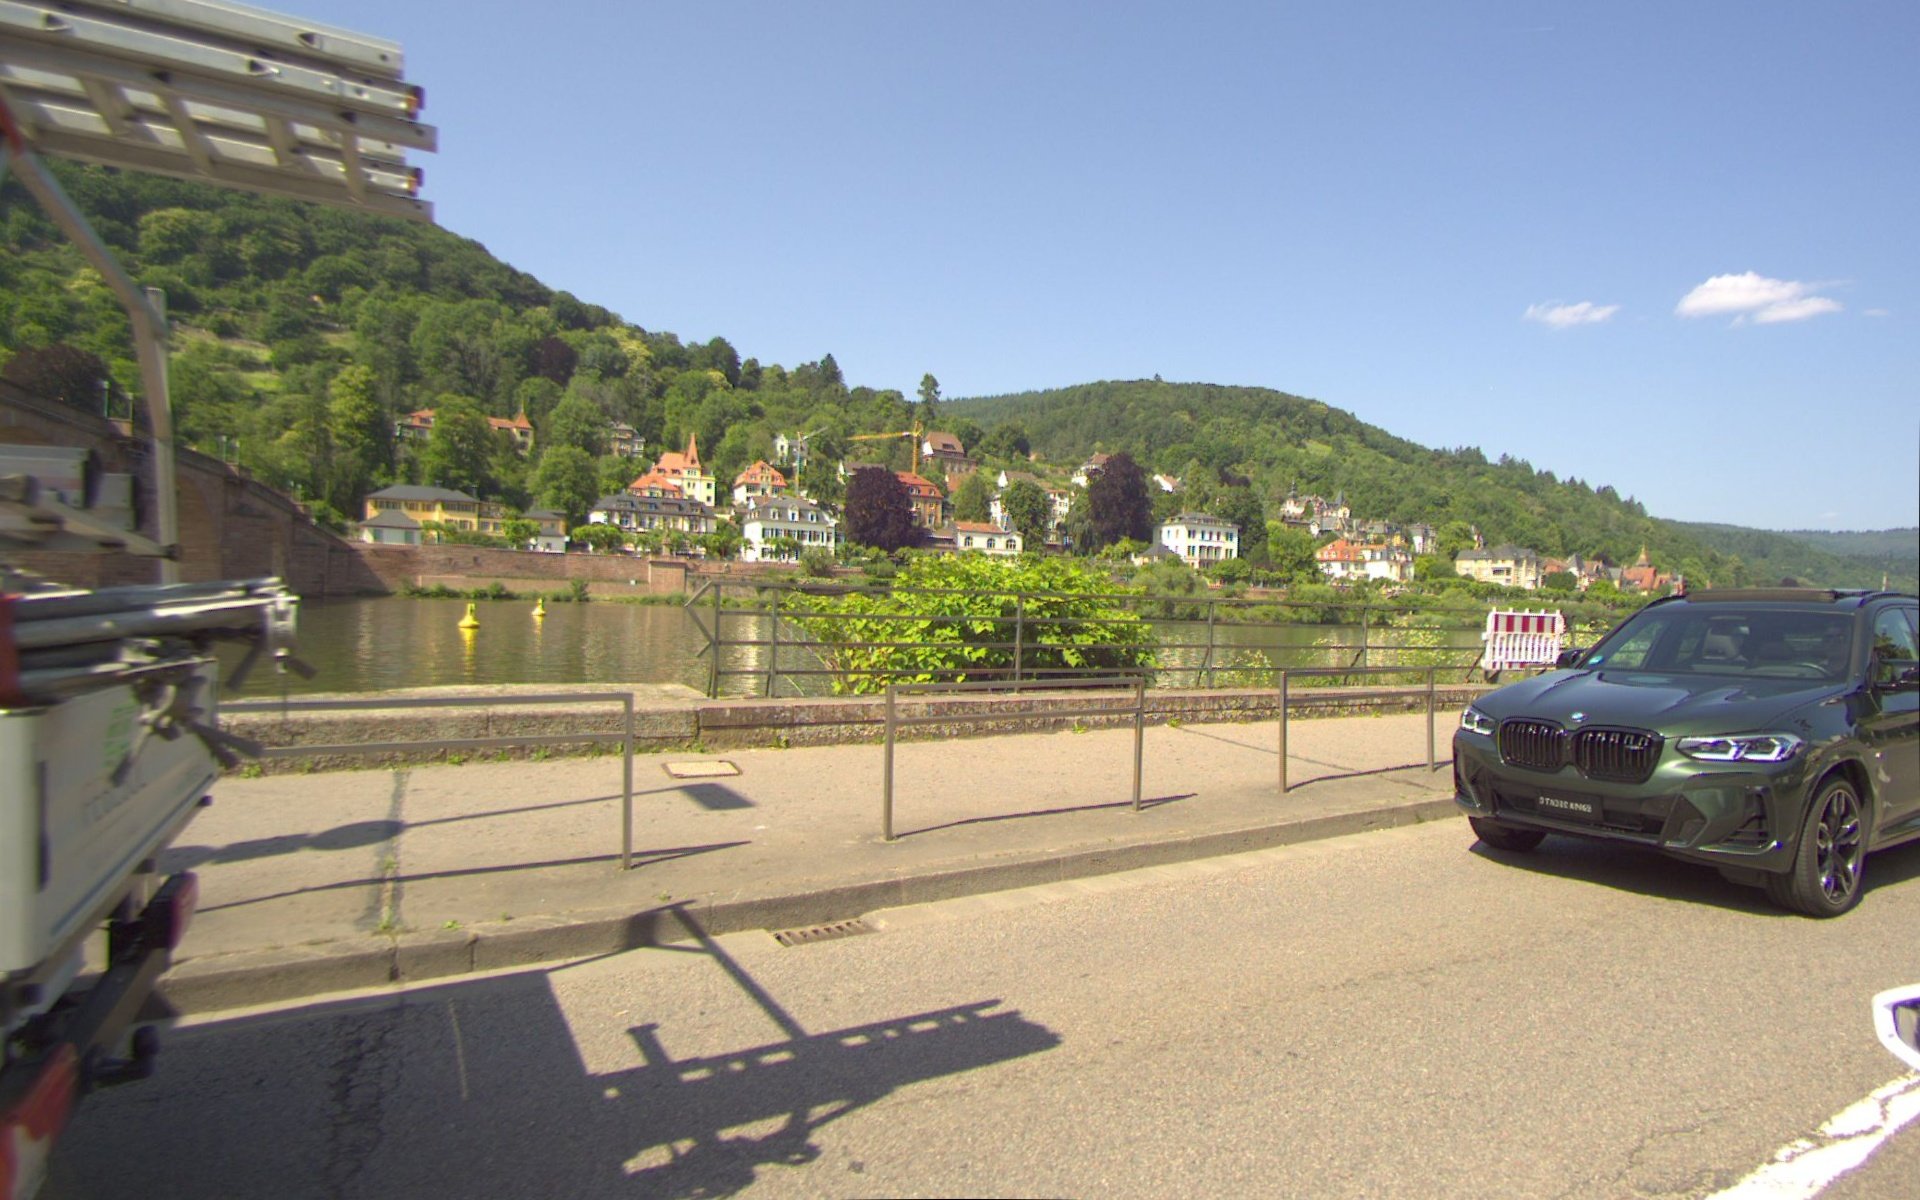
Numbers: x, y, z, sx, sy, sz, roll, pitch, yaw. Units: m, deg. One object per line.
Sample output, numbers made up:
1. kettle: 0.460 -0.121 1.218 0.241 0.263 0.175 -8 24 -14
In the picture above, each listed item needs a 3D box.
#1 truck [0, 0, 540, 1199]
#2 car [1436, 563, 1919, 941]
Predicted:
1. truck: -4.582 -0.239 0.926 7.522 3.304 2.365 1 -2 -30
2. car: 5.264 0.731 6.484 4.403 1.703 1.853 1 -1 -31
